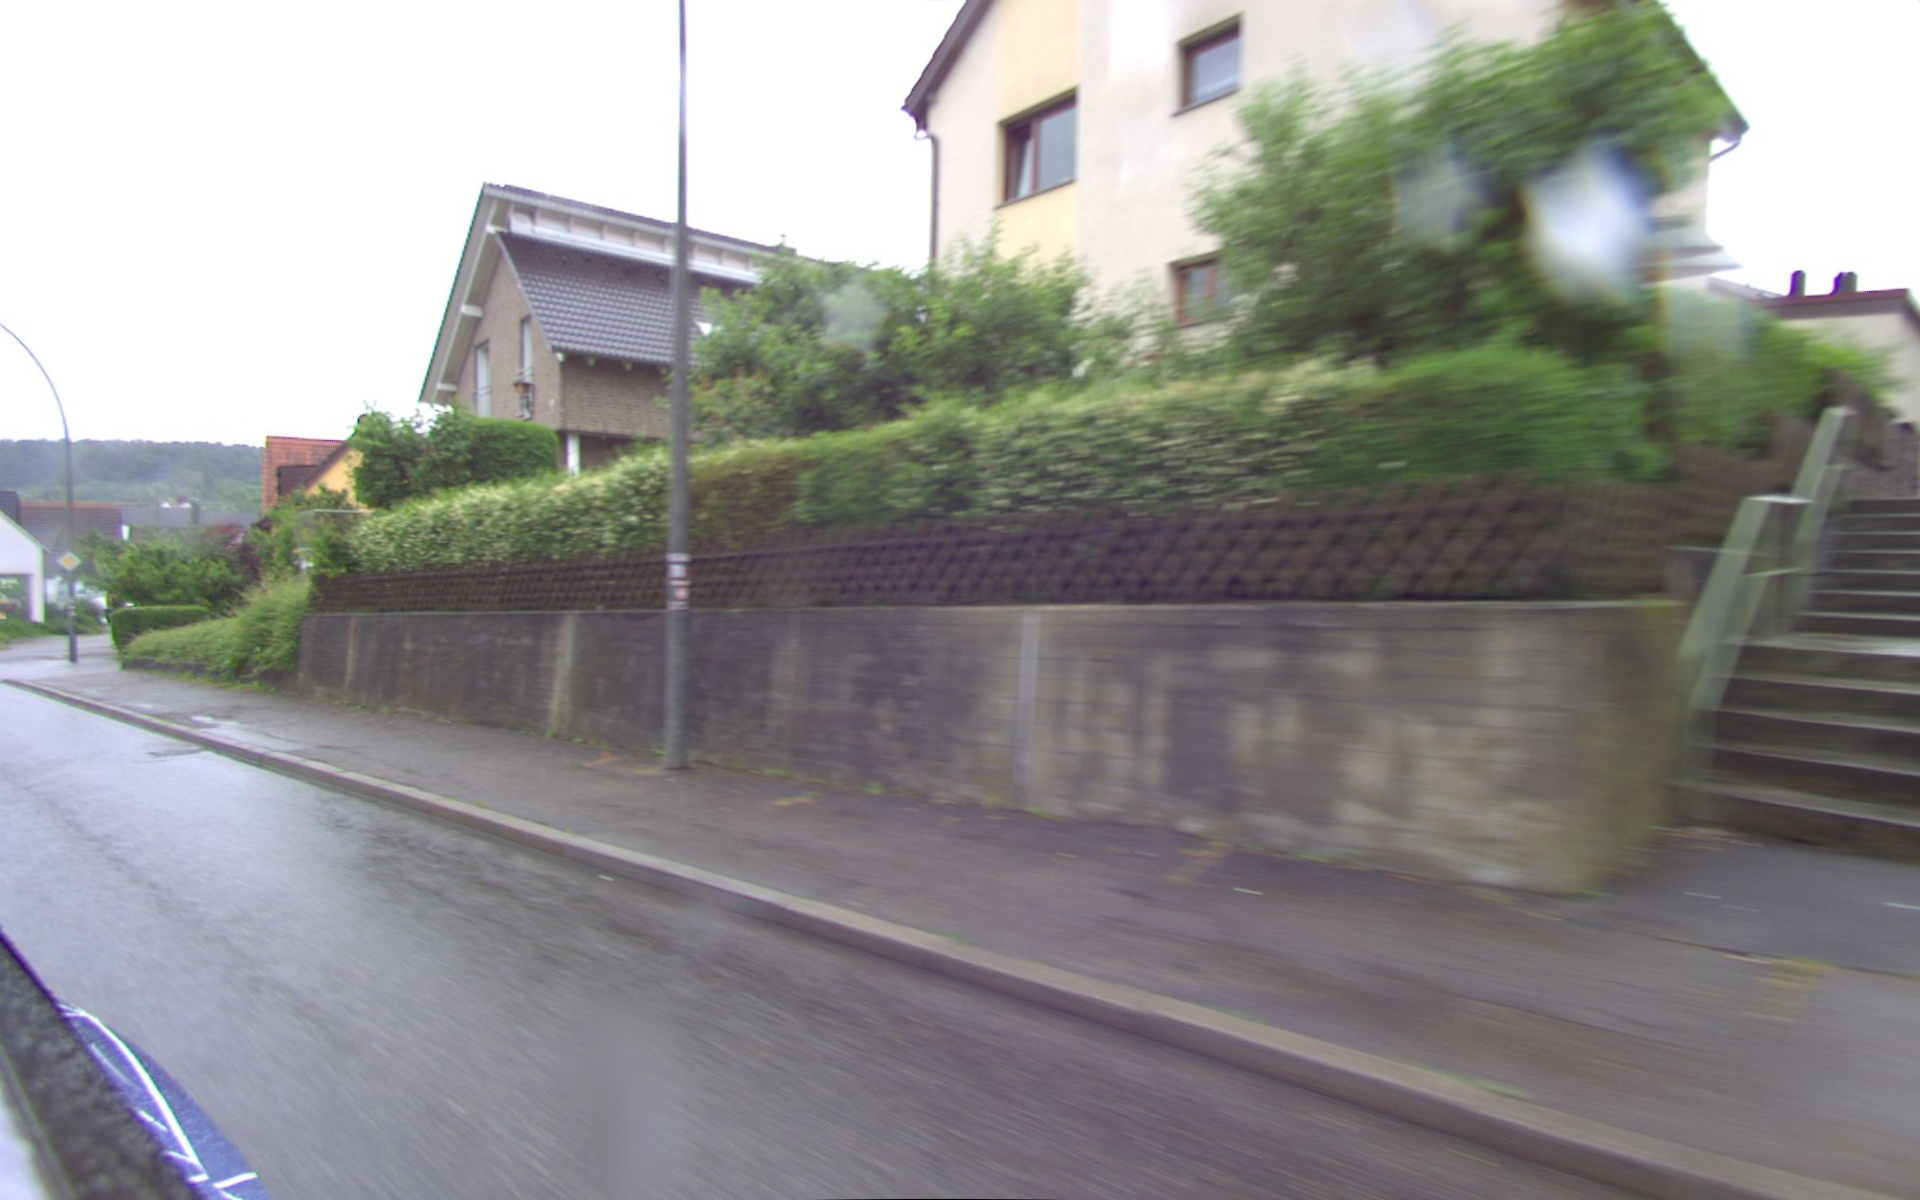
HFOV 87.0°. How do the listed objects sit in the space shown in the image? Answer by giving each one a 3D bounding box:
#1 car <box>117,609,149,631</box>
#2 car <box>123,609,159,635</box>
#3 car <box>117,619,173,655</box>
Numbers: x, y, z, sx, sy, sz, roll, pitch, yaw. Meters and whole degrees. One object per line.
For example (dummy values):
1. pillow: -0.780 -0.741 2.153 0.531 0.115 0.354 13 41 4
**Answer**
1. car: -58.759 1.393 71.918 1.394 1.439 3.502 -1 1 -34
2. car: -61.534 1.666 76.086 1.729 1.903 3.750 0 -1 -33
3. car: -37.771 1.660 46.987 1.725 1.574 4.029 0 -1 -35
